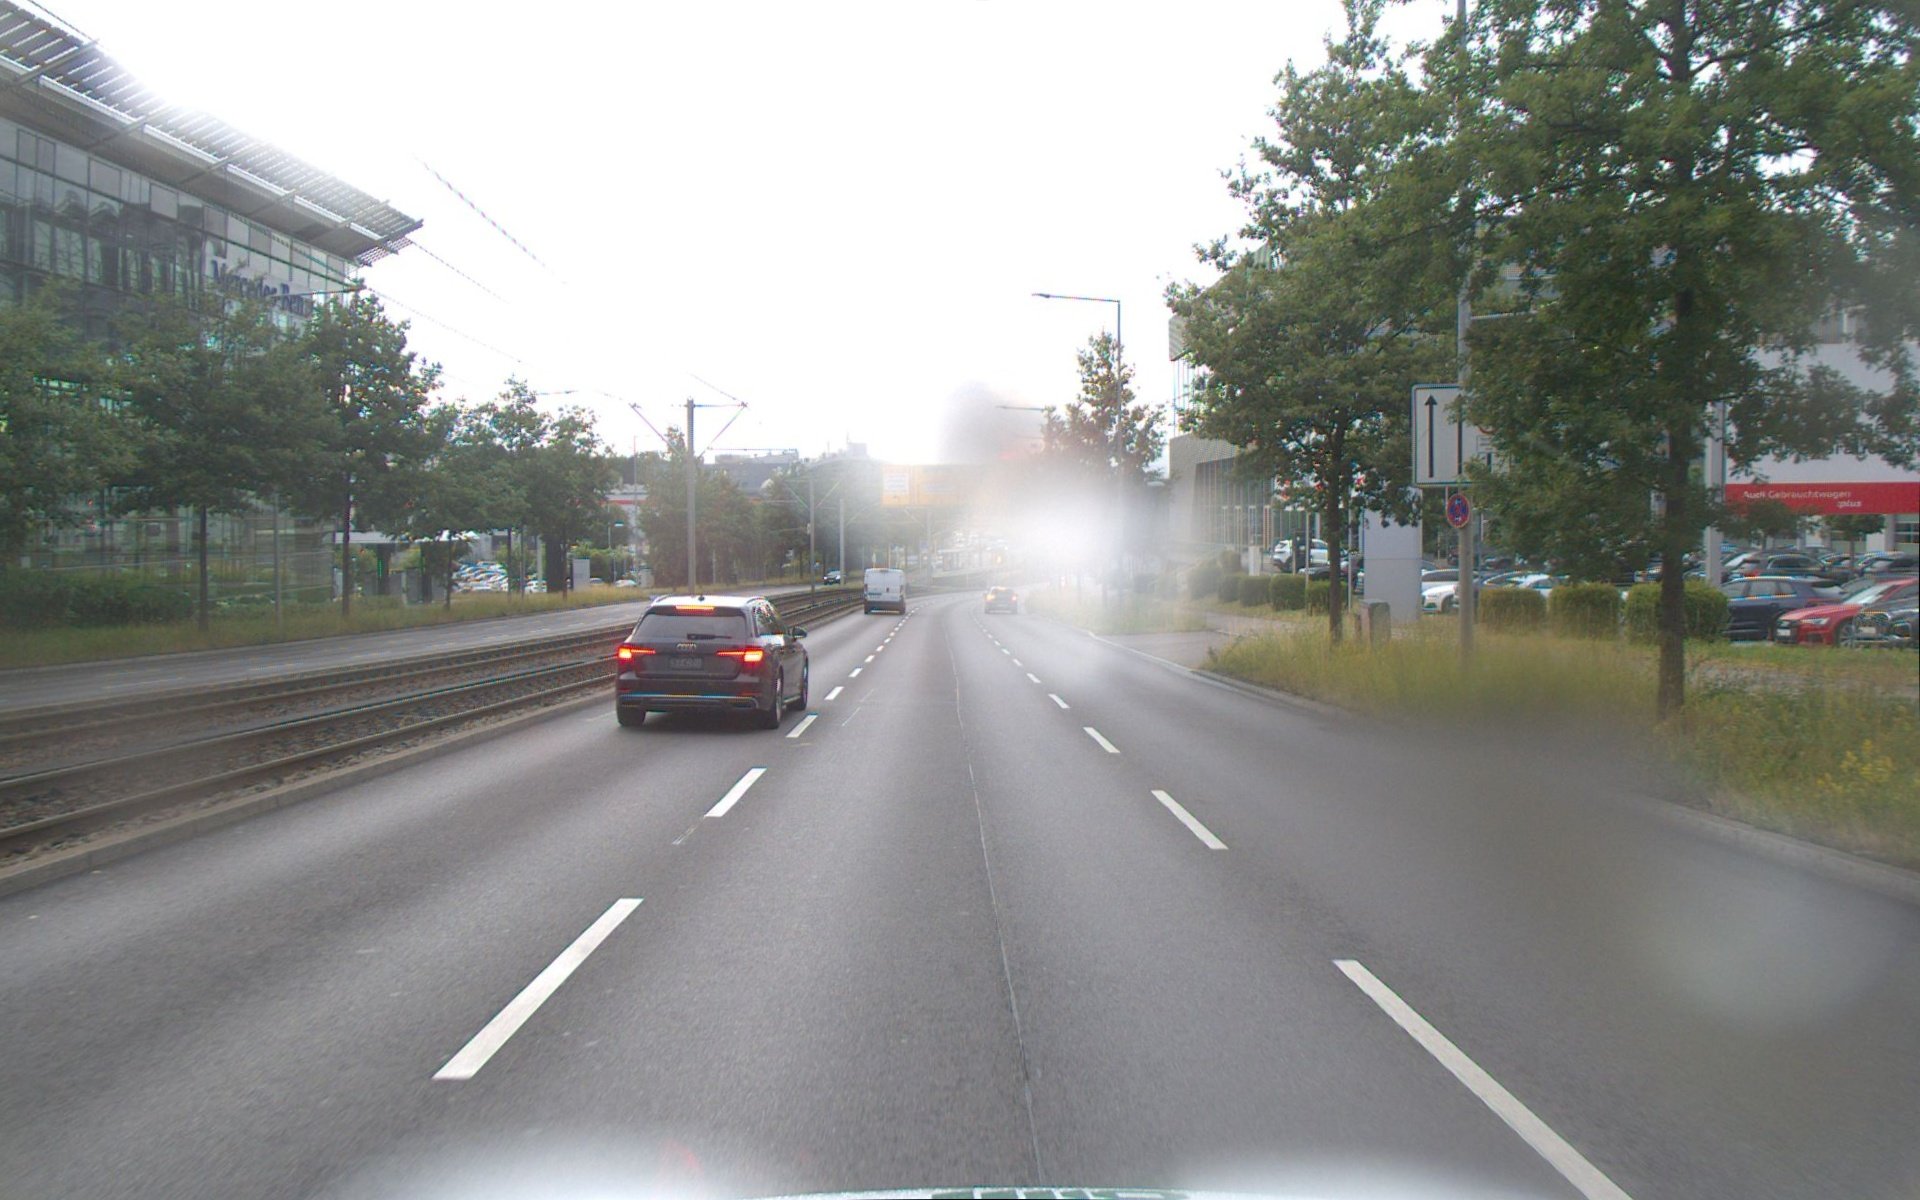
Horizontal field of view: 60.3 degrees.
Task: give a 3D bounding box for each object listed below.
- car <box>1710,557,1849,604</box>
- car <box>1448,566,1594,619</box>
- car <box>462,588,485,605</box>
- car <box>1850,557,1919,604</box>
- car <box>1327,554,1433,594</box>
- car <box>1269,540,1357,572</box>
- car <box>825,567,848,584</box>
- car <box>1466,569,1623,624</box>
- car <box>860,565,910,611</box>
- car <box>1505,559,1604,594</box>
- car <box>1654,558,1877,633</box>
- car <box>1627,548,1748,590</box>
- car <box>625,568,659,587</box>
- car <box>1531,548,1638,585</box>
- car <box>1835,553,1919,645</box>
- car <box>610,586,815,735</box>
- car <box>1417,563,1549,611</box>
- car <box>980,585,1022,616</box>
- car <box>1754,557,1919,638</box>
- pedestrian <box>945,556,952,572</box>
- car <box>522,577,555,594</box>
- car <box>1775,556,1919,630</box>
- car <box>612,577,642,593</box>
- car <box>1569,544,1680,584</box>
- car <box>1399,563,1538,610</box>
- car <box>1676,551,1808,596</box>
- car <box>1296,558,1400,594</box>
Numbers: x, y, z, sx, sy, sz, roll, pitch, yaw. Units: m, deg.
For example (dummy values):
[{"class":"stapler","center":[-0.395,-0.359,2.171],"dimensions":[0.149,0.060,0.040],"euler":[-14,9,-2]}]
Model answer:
[{"class":"car","center":[28.508,-0.662,57.591],"dimensions":[4.023,1.602,1.692],"euler":[0,-1,-2]},{"class":"car","center":[17.847,-0.231,52.761],"dimensions":[4.022,1.622,1.870],"euler":[0,0,-2]},{"class":"car","center":[-46.068,-0.339,156.568],"dimensions":[1.727,1.520,3.974],"euler":[1,0,-22]},{"class":"car","center":[33.622,-0.685,57.929],"dimensions":[4.022,1.601,1.692],"euler":[0,0,-1]},{"class":"car","center":[17.709,-1.104,69.822],"dimensions":[4.022,1.601,1.692],"euler":[0,1,-2]},{"class":"car","center":[18.200,-2.288,85.413],"dimensions":[4.173,1.601,1.692],"euler":[0,1,-2]},{"class":"car","center":[-12.878,-2.563,172.846],"dimensions":[1.844,1.547,4.405],"euler":[-3,1,2]},{"class":"car","center":[17.602,-0.084,49.898],"dimensions":[4.030,1.622,1.944],"euler":[0,-1,-9]},{"class":"car","center":[-3.850,-0.587,84.958],"dimensions":[2.461,2.215,5.146],"euler":[1,0,-3]},{"class":"car","center":[28.034,-1.101,78.069],"dimensions":[4.022,1.601,1.692],"euler":[0,1,-2]},{"class":"car","center":[18.326,-0.086,37.807],"dimensions":[1.814,1.621,4.313],"euler":[-1,0,-32]},{"class":"car","center":[28.656,-1.225,65.202],"dimensions":[4.022,1.601,1.692],"euler":[-1,0,-2]},{"class":"car","center":[-28.590,-2.012,148.718],"dimensions":[1.952,1.679,4.002],"euler":[1,0,4]},{"class":"car","center":[27.541,-1.481,73.020],"dimensions":[4.022,1.601,1.825],"euler":[0,1,-2]},{"class":"car","center":[18.687,-0.043,30.481],"dimensions":[4.191,1.621,1.825],"euler":[-1,0,-3]},{"class":"car","center":[-2.752,0.602,19.367],"dimensions":[1.728,1.489,4.626],"euler":[2,1,-1]},{"class":"car","center":[18.013,-0.438,57.061],"dimensions":[4.022,1.622,1.692],"euler":[0,0,-2]},{"class":"car","center":[2.198,0.035,90.589],"dimensions":[1.981,1.651,3.997],"euler":[1,0,-3]},{"class":"car","center":[18.765,-0.059,33.628],"dimensions":[4.375,1.578,1.929],"euler":[-1,0,-6]},{"class":"pedestrian","center":[-1.374,-4.402,201.048],"dimensions":[0.623,1.886,0.751],"euler":[1,0,11]},{"class":"car","center":[-40.830,-1.402,160.227],"dimensions":[1.974,1.536,3.956],"euler":[1,0,-32]},{"class":"car","center":[21.323,-0.160,38.848],"dimensions":[1.750,1.621,3.521],"euler":[-3,1,-32]},{"class":"car","center":[-32.962,-1.448,163.681],"dimensions":[1.969,1.536,3.967],"euler":[1,0,-26]},{"class":"car","center":[28.100,-1.528,69.998],"dimensions":[4.023,1.601,1.692],"euler":[-1,2,-2]},{"class":"car","center":[18.124,-0.477,59.029],"dimensions":[4.428,1.622,1.692],"euler":[0,0,-2]},{"class":"car","center":[28.440,-0.971,60.181],"dimensions":[4.023,1.601,1.692],"euler":[0,1,-2]},{"class":"car","center":[17.622,-1.097,75.176],"dimensions":[4.331,1.601,1.692],"euler":[0,1,-2]}]
